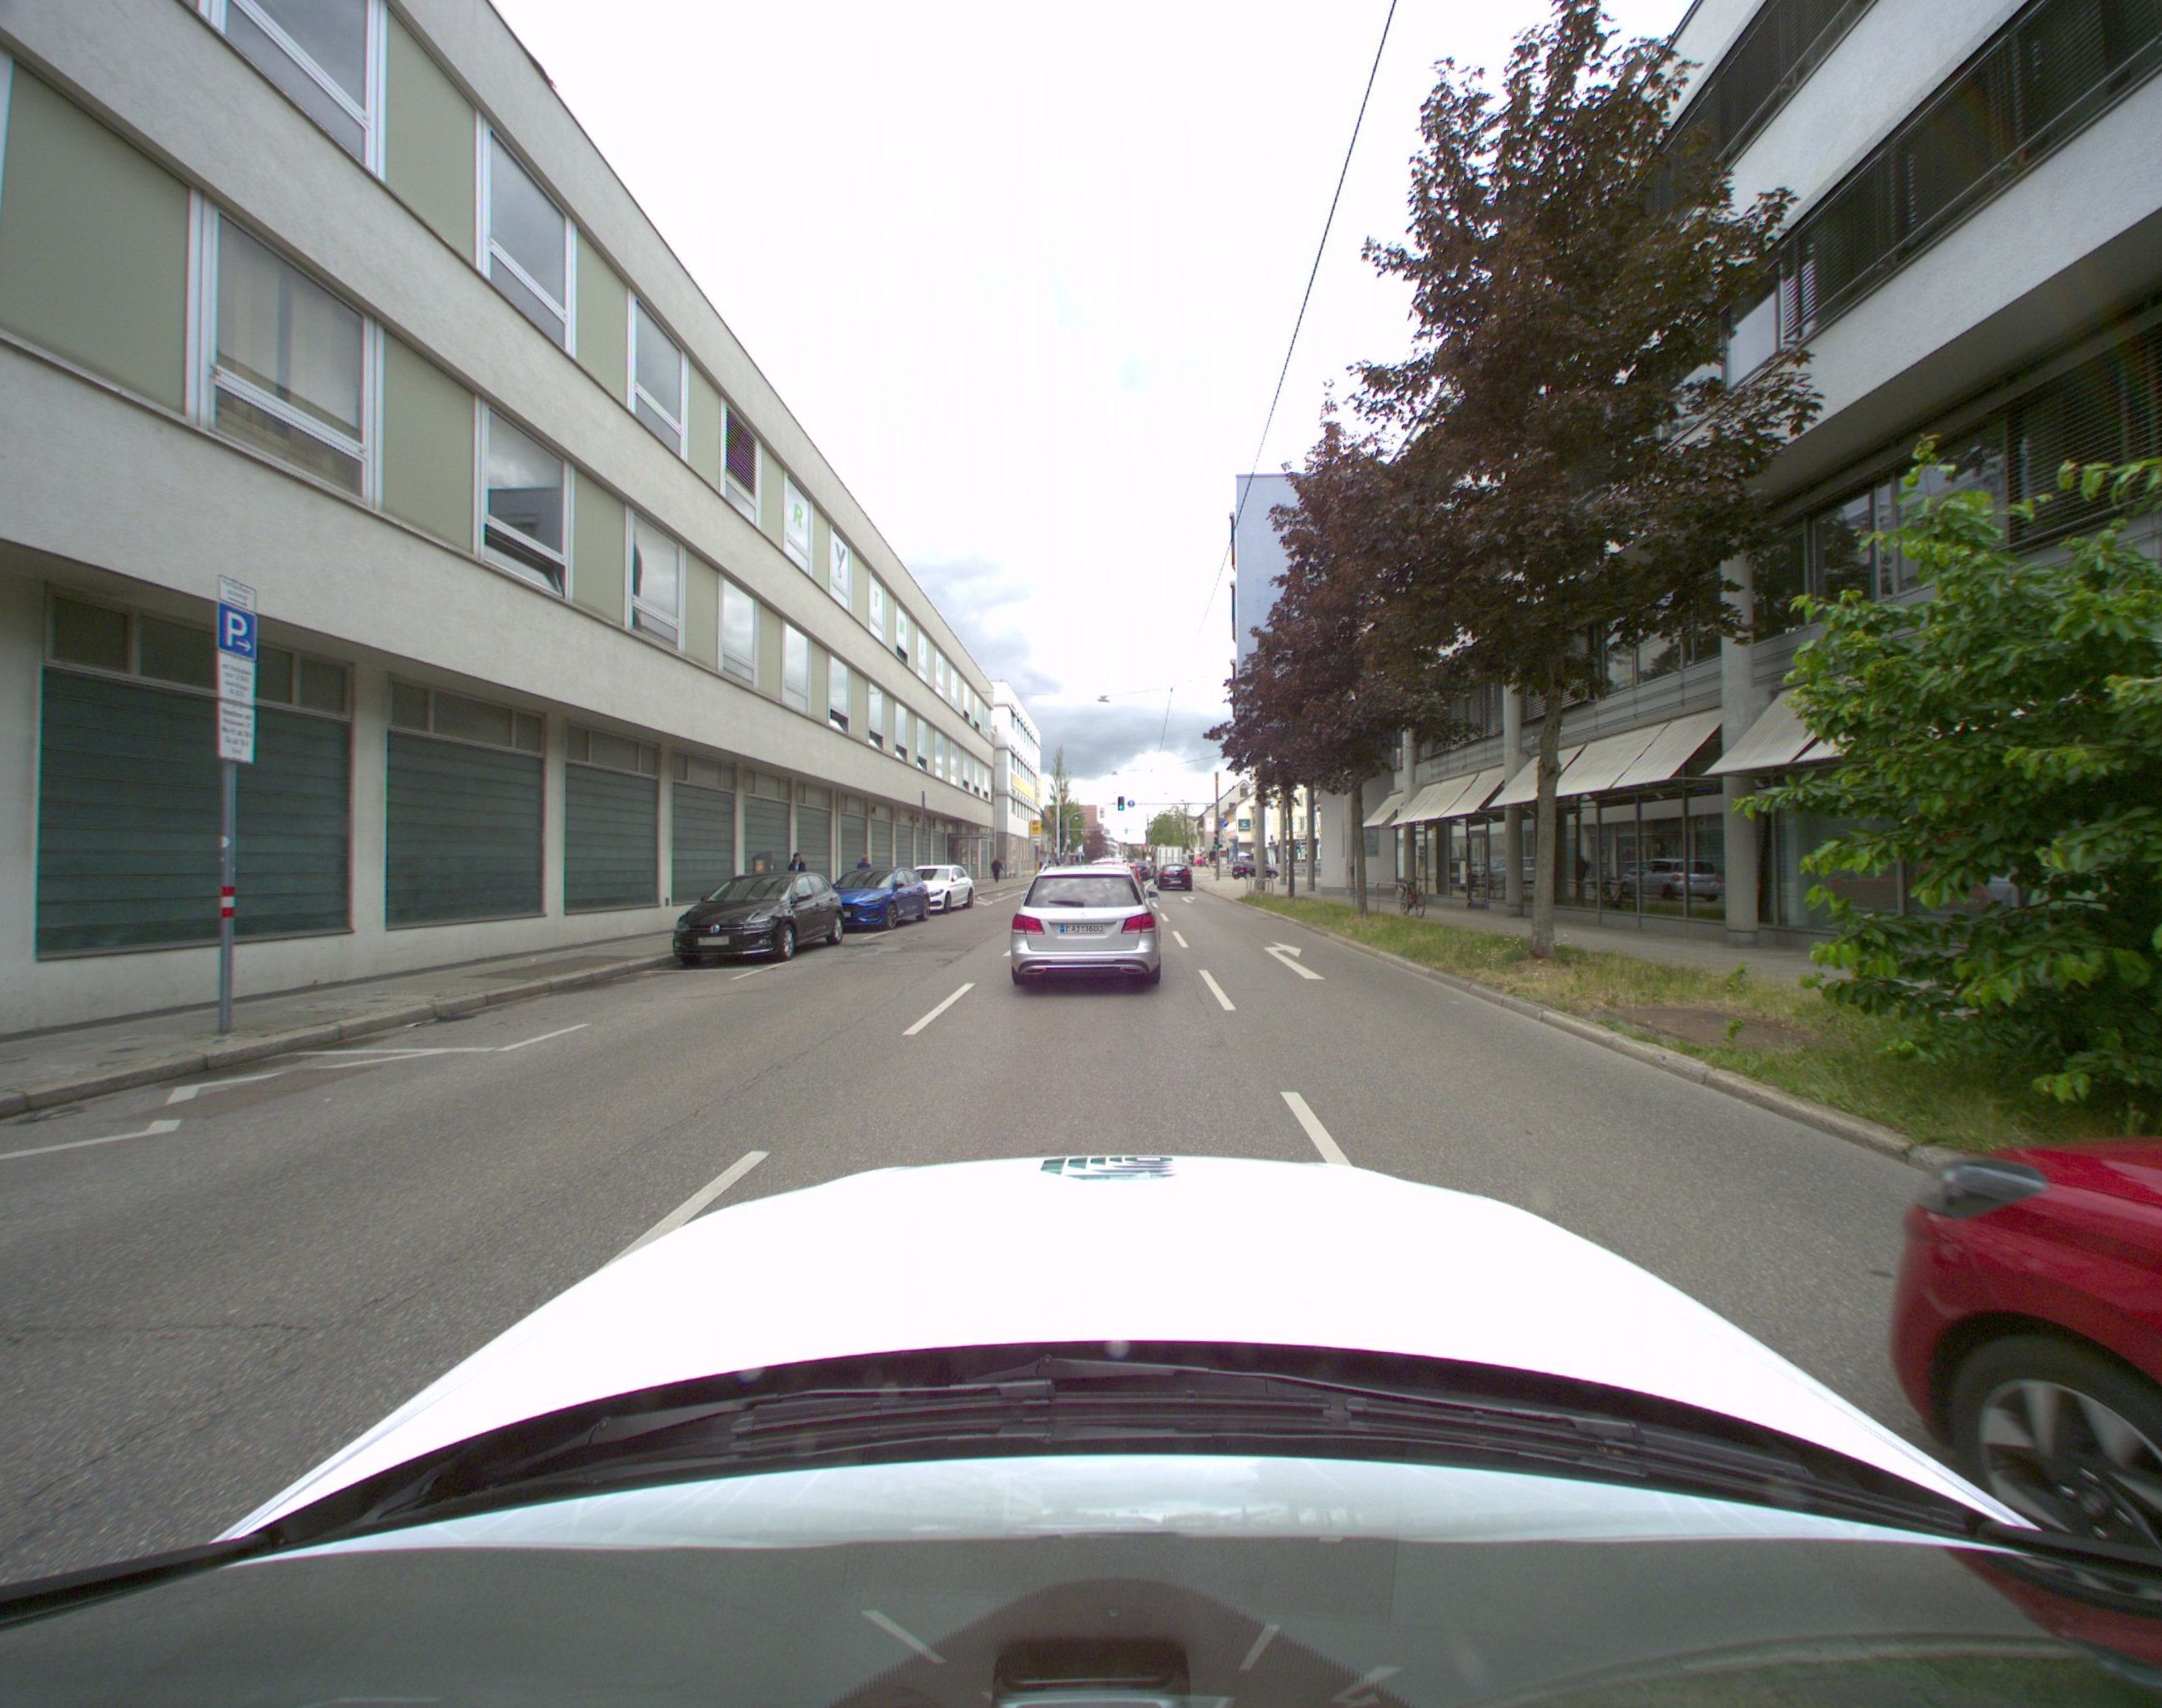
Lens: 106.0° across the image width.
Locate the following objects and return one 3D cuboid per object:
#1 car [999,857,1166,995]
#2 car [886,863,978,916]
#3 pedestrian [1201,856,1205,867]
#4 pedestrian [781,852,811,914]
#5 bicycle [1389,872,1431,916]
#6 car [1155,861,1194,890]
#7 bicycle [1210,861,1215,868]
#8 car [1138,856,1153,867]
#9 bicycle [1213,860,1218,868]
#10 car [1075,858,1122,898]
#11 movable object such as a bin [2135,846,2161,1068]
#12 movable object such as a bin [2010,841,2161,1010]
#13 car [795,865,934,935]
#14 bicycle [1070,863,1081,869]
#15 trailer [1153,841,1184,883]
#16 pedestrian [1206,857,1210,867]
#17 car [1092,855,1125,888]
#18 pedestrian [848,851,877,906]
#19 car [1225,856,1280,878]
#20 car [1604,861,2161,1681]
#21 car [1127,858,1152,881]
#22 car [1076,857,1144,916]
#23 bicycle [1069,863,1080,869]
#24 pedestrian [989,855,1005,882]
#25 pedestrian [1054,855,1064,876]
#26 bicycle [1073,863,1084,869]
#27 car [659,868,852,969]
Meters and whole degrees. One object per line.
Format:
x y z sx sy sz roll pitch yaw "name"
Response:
0.071 0.814 11.137 1.839 1.508 4.172 -1 0 1 "car"
-4.593 1.061 25.791 1.662 1.434 4.559 -2 0 5 "car"
19.708 1.181 131.490 0.577 1.666 0.650 1 -1 -6 "pedestrian"
-8.126 0.817 23.243 0.587 1.718 0.650 -1 -1 1 "pedestrian"
8.744 1.051 21.708 0.359 1.086 2.028 1 -1 1 "bicycle"
4.915 1.101 43.230 1.728 1.410 4.001 -1 0 1 "car"
20.138 1.544 124.753 0.446 1.091 2.151 -1 -1 4 "bicycle"
8.517 1.031 107.500 1.728 1.410 4.001 -1 0 1 "car"
20.585 1.532 124.730 0.446 1.107 2.151 -1 -1 4 "bicycle"
0.707 0.913 32.770 1.728 1.508 4.001 -1 0 1 "car"
7.682 0.660 4.775 1.123 1.465 1.413 -2 -1 1 "movable object such as a bin"
10.042 0.625 7.633 1.094 1.465 1.333 -2 -1 1 "movable object such as a bin"
-5.123 1.043 19.927 1.806 1.426 4.271 -2 0 6 "car"
-1.052 2.127 147.226 1.935 1.029 0.529 1 -1 -7 "bicycle"
5.744 0.536 53.814 1.869 2.613 4.328 2 0 4 "trailer"
19.963 1.280 127.932 0.577 1.469 0.650 1 -1 -5 "pedestrian"
1.520 0.949 45.236 1.728 1.759 4.001 -1 0 1 "car"
-6.951 0.778 25.946 0.587 1.718 1.055 -1 -1 1 "pedestrian"
13.611 1.056 64.638 3.800 1.670 1.915 0 -1 -21 "car"
2.776 0.767 1.050 1.692 1.452 4.001 2 0 1 "car"
4.598 1.181 64.357 1.821 1.785 4.001 -1 0 2 "car"
0.830 0.837 22.852 1.727 1.508 4.002 0 0 2 "car"
-1.149 2.132 147.892 1.935 1.029 0.529 1 -1 -7 "bicycle"
-5.360 0.941 52.228 0.858 1.718 1.032 1 -1 1 "pedestrian"
-1.811 0.984 67.916 0.643 1.718 0.785 1 0 10 "pedestrian"
-0.510 2.171 151.192 1.935 1.029 0.529 1 -1 -7 "bicycle"
-5.490 1.010 14.293 1.710 1.425 3.871 -2 0 1 "car"
